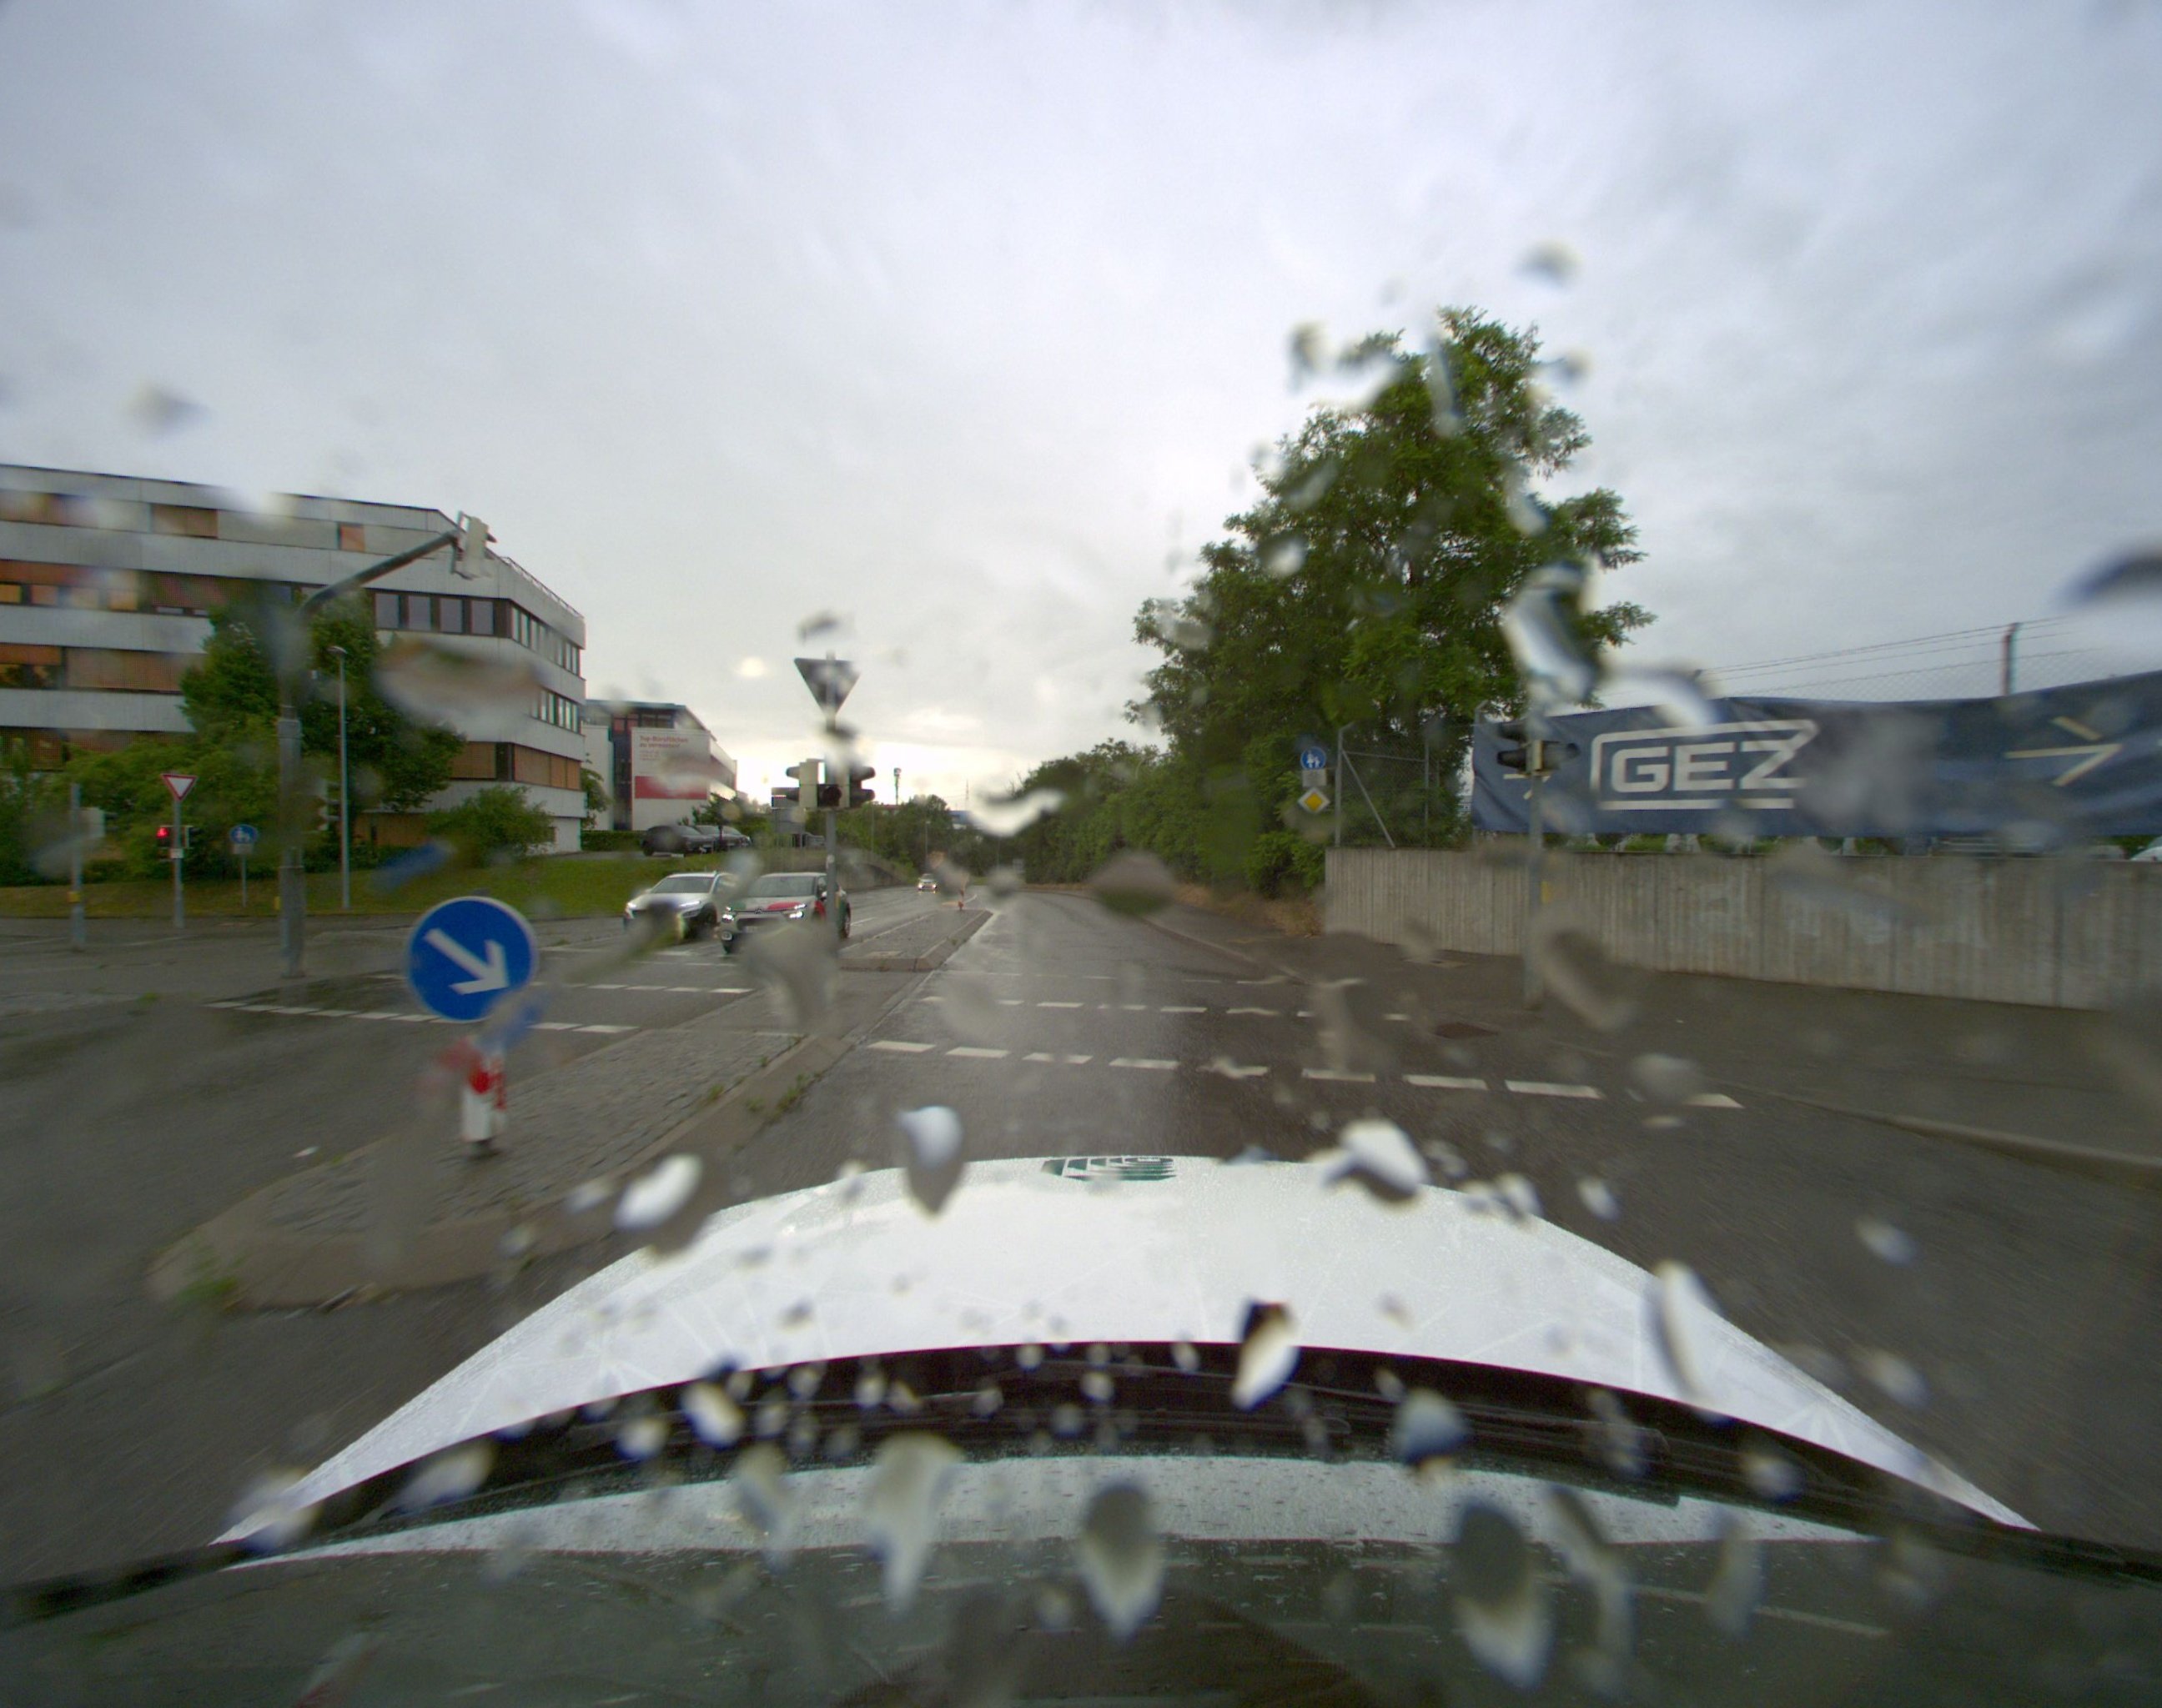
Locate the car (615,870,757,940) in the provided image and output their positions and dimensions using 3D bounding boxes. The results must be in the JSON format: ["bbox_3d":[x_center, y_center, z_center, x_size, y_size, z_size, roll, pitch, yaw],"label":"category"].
[{"bbox_3d":[-9.628,1.181,20.215,1.716,1.494,3.996,0,-1,-3],"label":"car"}]

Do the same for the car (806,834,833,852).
[{"bbox_3d":[-23.131,-0.966,72.067,1.828,1.442,3.984,1,-2,-11],"label":"car"}]

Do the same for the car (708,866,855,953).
[{"bbox_3d":[-5.882,1.009,16.492,1.657,1.494,3.996,0,-1,-3],"label":"car"}]

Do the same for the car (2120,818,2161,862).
[{"bbox_3d":[36.746,-0.473,27.157,1.800,1.434,4.129,-1,0,41],"label":"car"}]

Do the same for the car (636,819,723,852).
[{"bbox_3d":[-20.909,-0.916,42.453,3.951,1.586,1.913,0,-2,23],"label":"car"}]

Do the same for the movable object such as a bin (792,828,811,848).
[{"bbox_3d":[-21.049,-1.176,61.369,1.084,1.437,1.441,1,-2,-12],"label":"movable object such as a bin"}]

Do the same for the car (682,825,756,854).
[{"bbox_3d":[-21.523,-0.849,48.398,3.950,1.586,1.913,0,-2,27],"label":"car"}]

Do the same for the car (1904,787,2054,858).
[{"bbox_3d":[21.633,-0.698,19.779,1.726,1.553,3.553,-1,0,36],"label":"car"}]

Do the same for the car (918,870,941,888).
[{"bbox_3d":[-13.220,2.172,71.405,1.650,1.429,3.785,0,0,-6],"label":"car"}]

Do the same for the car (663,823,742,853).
[{"bbox_3d":[-21.116,-0.855,45.417,3.950,1.586,1.913,0,-2,27],"label":"car"}]

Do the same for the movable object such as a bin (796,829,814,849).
[{"bbox_3d":[-21.307,-1.173,62.870,1.084,1.437,1.441,1,-2,-12],"label":"movable object such as a bin"}]

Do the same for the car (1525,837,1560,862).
[{"bbox_3d":[30.528,-0.294,53.827,1.650,1.606,3.553,-1,0,36],"label":"car"}]
